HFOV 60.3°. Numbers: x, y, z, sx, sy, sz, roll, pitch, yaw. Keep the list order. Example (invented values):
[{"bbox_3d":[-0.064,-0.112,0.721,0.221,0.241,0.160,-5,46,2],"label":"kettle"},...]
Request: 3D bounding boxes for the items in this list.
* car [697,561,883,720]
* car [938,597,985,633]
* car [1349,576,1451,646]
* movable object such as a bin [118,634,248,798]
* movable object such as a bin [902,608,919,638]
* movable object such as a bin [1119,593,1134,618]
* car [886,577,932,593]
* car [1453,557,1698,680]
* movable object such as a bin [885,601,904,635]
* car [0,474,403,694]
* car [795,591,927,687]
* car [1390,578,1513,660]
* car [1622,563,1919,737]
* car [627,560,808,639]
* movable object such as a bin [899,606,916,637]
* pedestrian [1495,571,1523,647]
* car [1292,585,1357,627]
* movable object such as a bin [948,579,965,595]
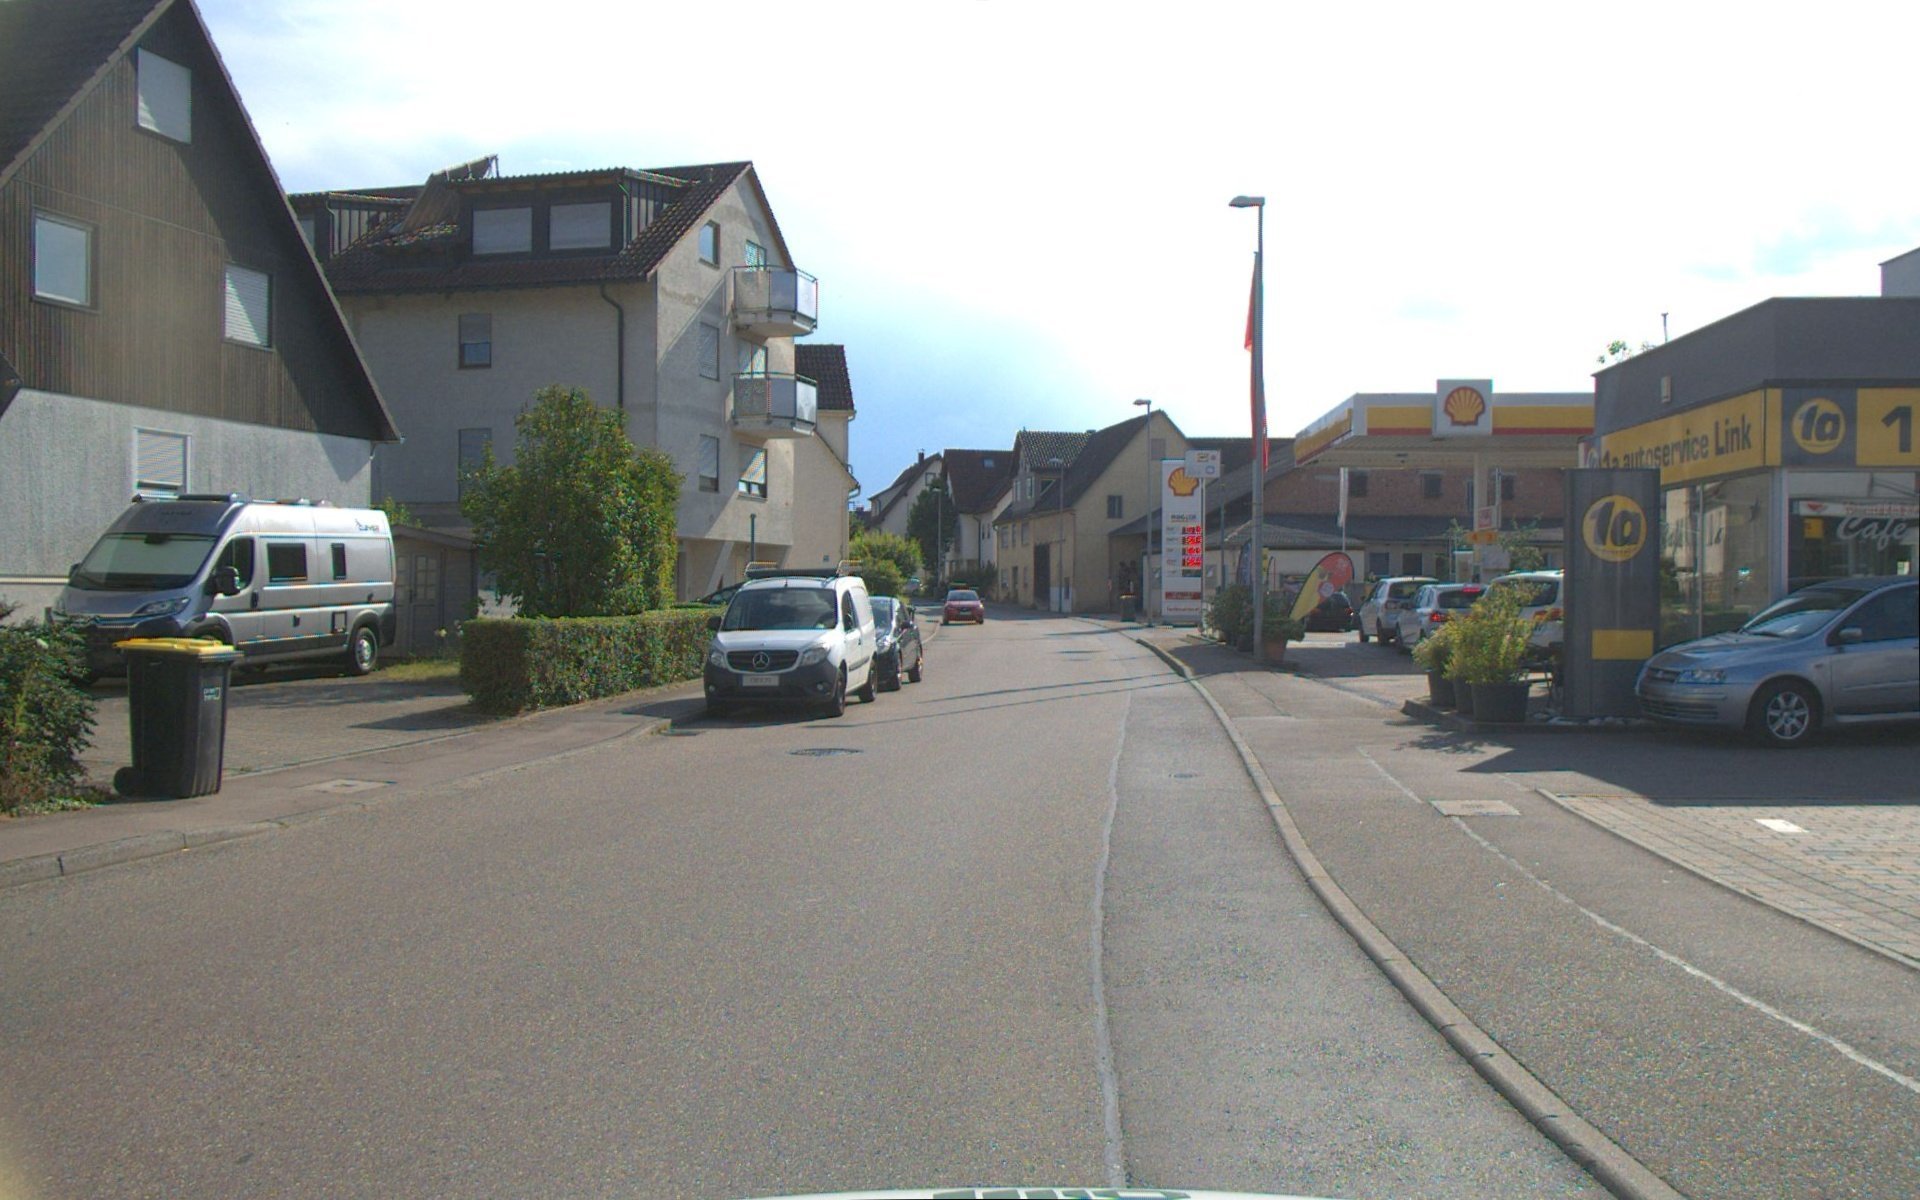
[{"bbox_3d":[-2.170,0.480,22.254,1.680,1.905,4.195,-1,0,5],"label":"car"},{"bbox_3d":[0.055,0.642,72.129,1.675,1.460,3.776,-1,0,-5],"label":"car"},{"bbox_3d":[10.601,0.228,40.085,1.636,1.605,4.001,0,1,4],"label":"car"},{"bbox_3d":[-5.522,0.812,11.782,0.598,1.120,0.576,1,-1,5],"label":"movable object such as a bin"},{"bbox_3d":[-1.723,0.798,57.643,0.520,1.040,0.458,-2,0,3],"label":"movable object such as a bin"},{"bbox_3d":[7.234,0.223,71.872,0.639,1.092,0.513,0,0,1],"label":"movable object such as a bin"},{"bbox_3d":[-4.382,-1.306,142.219,3.909,1.376,1.709,0,0,-5],"label":"car"},{"bbox_3d":[9.483,0.242,25.355,4.037,1.704,1.654,-2,0,-39],"label":"car"},{"bbox_3d":[-2.185,0.599,55.275,0.576,1.103,0.508,-2,0,3],"label":"movable object such as a bin"},{"bbox_3d":[-10.310,-0.237,23.170,2.112,2.641,6.099,1,1,9],"label":"car"},{"bbox_3d":[-1.585,0.607,27.708,1.637,1.477,3.837,-1,0,5],"label":"car"},{"bbox_3d":[10.259,0.344,34.776,1.636,1.605,4.001,0,1,4],"label":"car"},{"bbox_3d":[8.539,0.442,15.715,3.906,1.558,1.527,0,0,-1],"label":"car"},{"bbox_3d":[-5.885,-0.025,40.269,3.904,1.564,1.764,5,2,16],"label":"car"},{"bbox_3d":[-1.803,0.724,56.971,0.520,1.040,0.458,-2,0,3],"label":"movable object such as a bin"},{"bbox_3d":[12.279,0.198,37.005,0.490,1.699,0.534,0,0,4],"label":"pedestrian"},{"bbox_3d":[13.216,0.185,60.173,1.545,1.452,4.383,1,1,3],"label":"car"},{"bbox_3d":[-0.273,-0.973,121.301,1.139,1.188,0.654,0,0,-8],"label":"movable object such as a bin"}]
